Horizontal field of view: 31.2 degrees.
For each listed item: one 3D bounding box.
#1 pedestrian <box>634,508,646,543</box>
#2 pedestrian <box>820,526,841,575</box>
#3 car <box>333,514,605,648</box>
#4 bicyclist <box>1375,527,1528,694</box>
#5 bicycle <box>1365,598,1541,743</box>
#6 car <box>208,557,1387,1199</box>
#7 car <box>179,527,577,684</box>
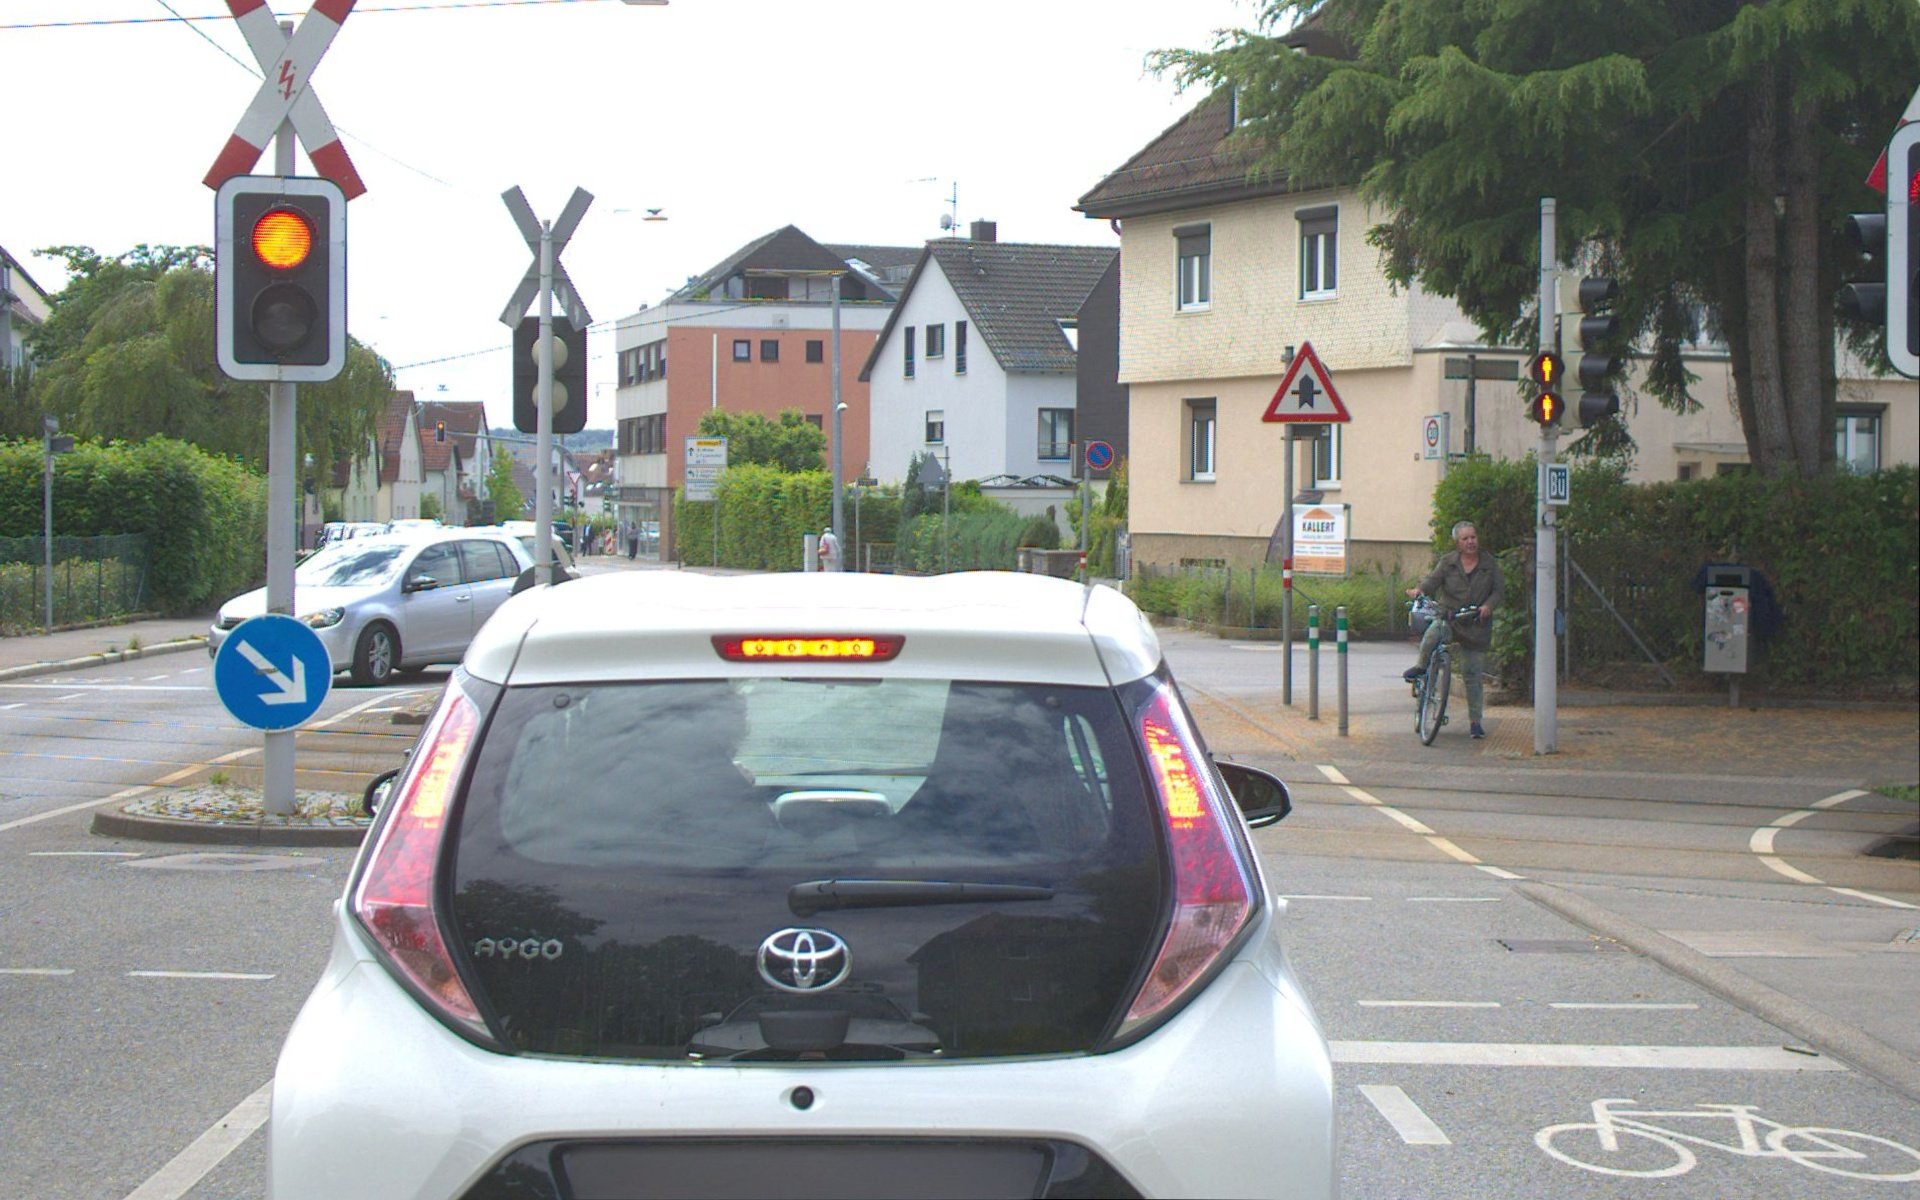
[{"bbox_3d":[-13.246,-3.091,142.387,0.413,1.433,0.438,1,1,-11],"label":"pedestrian"},{"bbox_3d":[-3.797,-1.443,100.727,0.414,1.433,0.437,3,2,39],"label":"pedestrian"},{"bbox_3d":[-5.777,-0.219,40.599,1.579,1.505,2.781,2,1,42],"label":"car"},{"bbox_3d":[3.763,0.071,26.252,0.933,1.243,1.101,0,1,21],"label":"bicyclist"},{"bbox_3d":[3.798,0.516,26.350,0.933,1.037,1.913,0,1,21],"label":"bicycle"},{"bbox_3d":[-0.248,0.667,6.749,1.621,1.481,4.000,0,1,-1],"label":"car"},{"bbox_3d":[-5.759,0.027,34.471,1.691,1.453,4.062,1,1,31],"label":"car"}]
